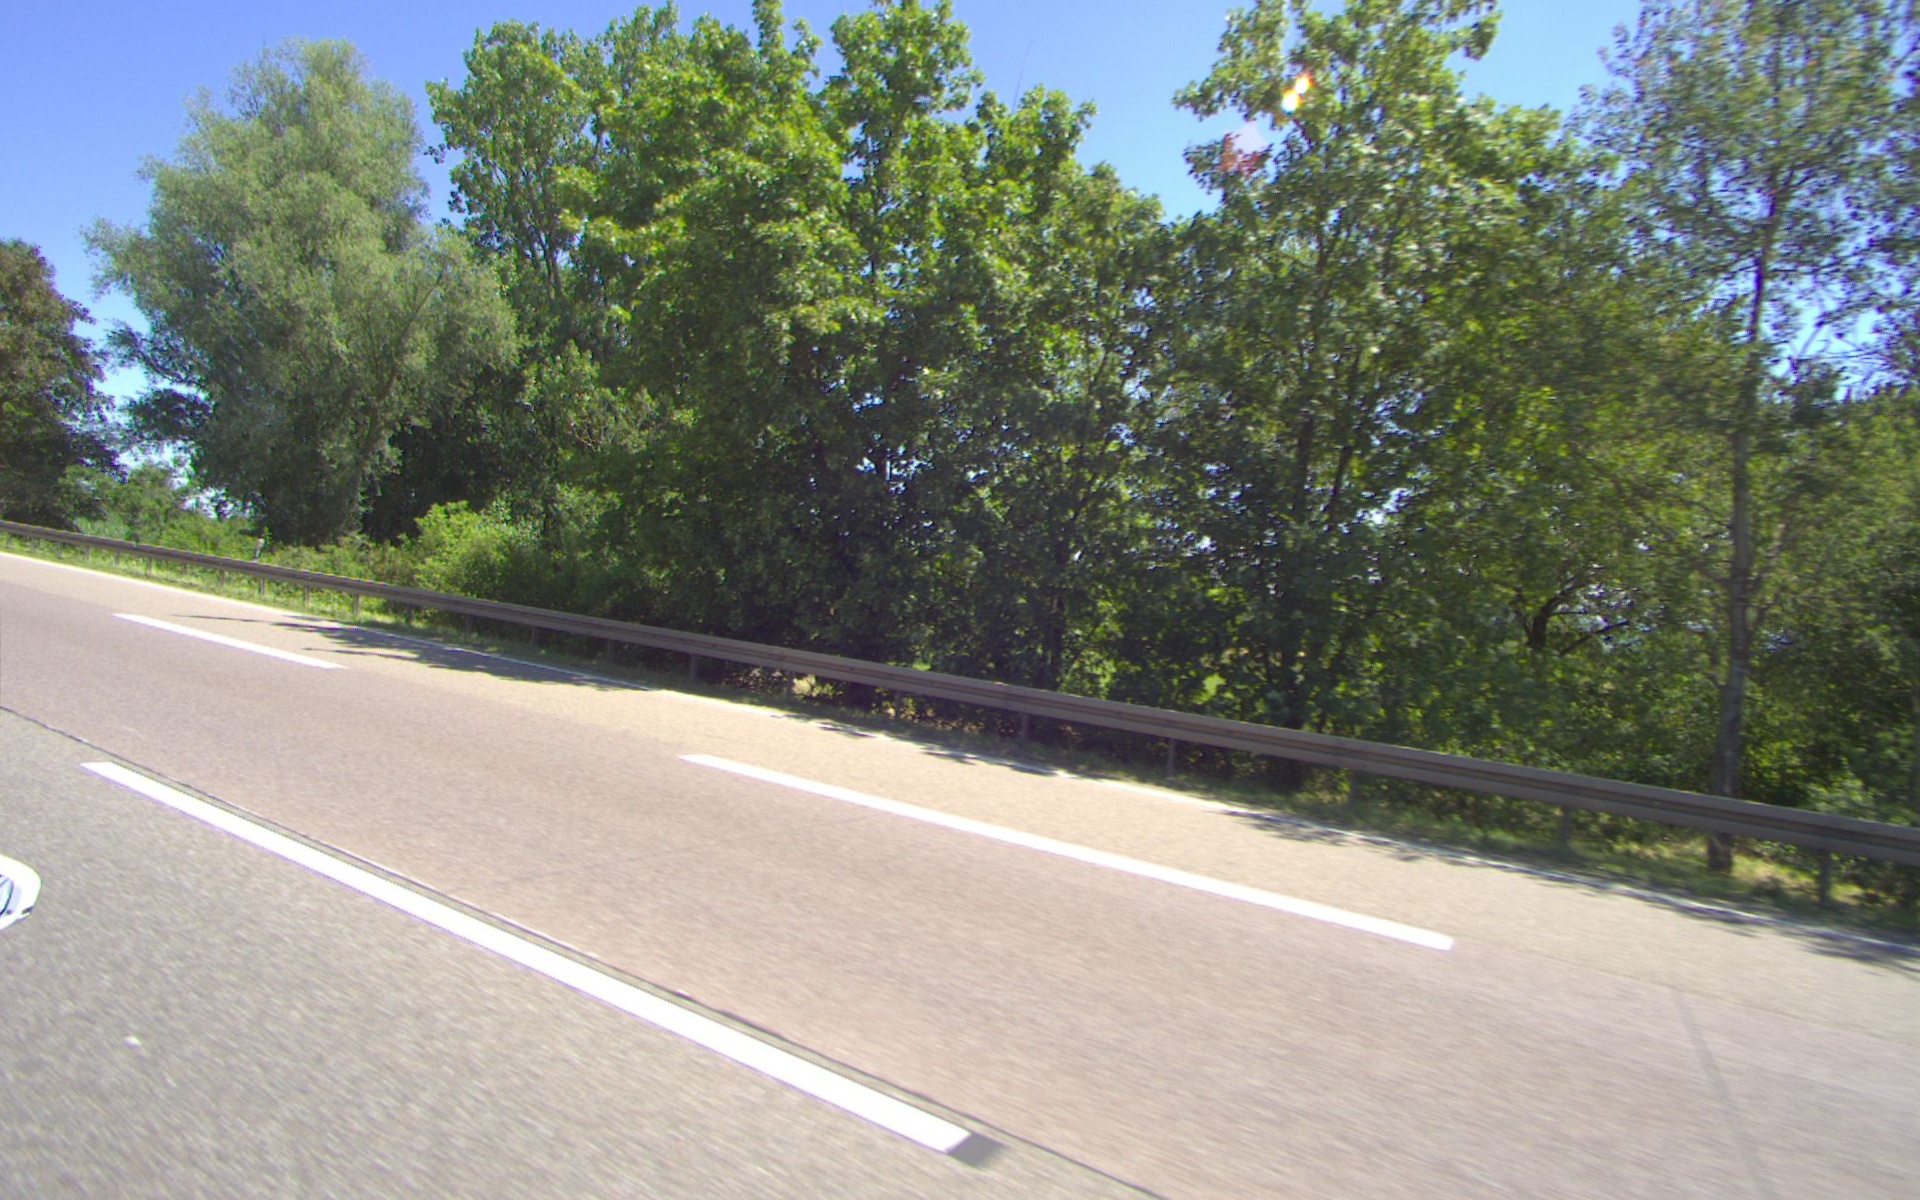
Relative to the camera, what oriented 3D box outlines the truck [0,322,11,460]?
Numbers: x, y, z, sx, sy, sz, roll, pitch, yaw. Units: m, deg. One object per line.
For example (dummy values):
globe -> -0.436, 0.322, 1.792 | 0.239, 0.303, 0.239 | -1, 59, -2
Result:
truck -> -23.806, -3.273, 19.742 | 16.508, 4.311, 2.848 | 6, 0, 30
